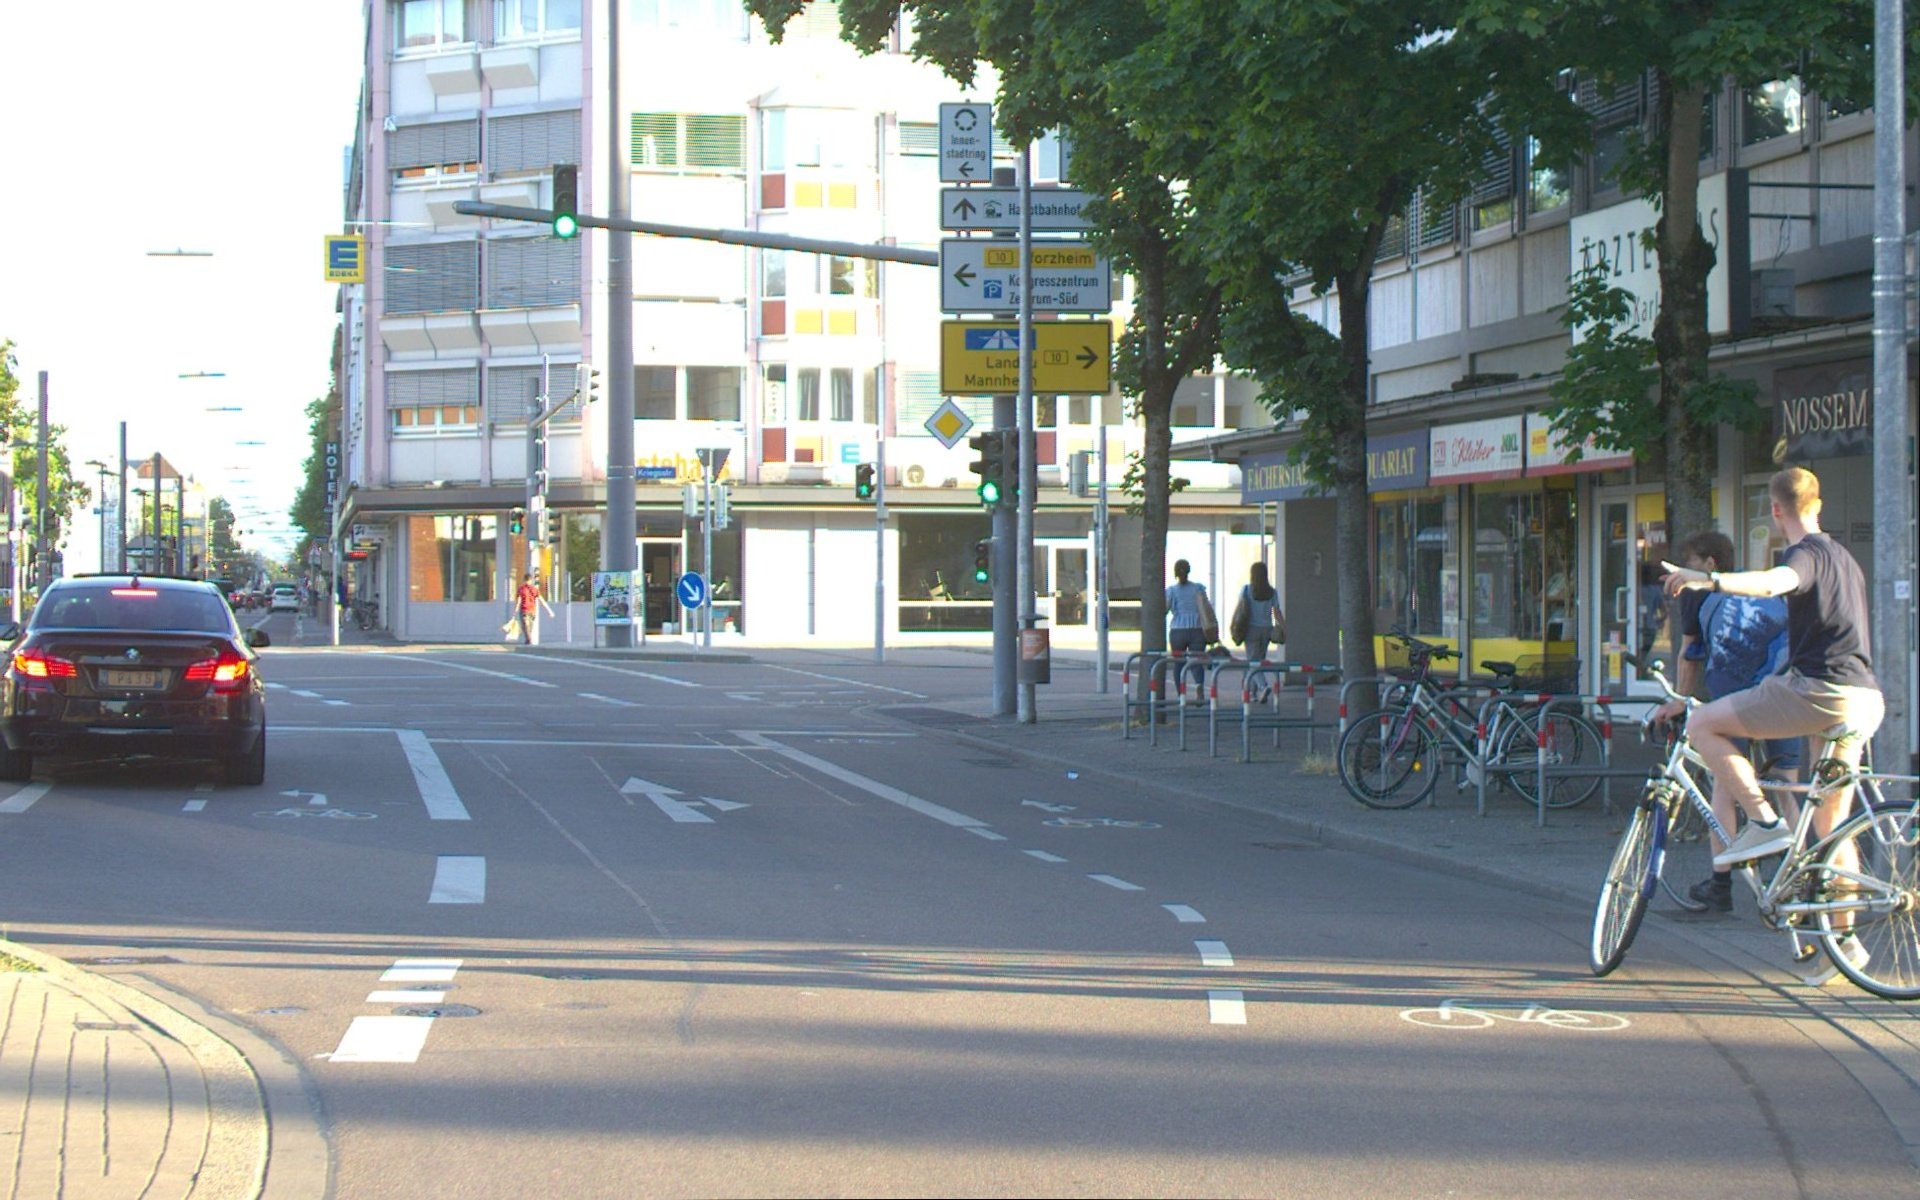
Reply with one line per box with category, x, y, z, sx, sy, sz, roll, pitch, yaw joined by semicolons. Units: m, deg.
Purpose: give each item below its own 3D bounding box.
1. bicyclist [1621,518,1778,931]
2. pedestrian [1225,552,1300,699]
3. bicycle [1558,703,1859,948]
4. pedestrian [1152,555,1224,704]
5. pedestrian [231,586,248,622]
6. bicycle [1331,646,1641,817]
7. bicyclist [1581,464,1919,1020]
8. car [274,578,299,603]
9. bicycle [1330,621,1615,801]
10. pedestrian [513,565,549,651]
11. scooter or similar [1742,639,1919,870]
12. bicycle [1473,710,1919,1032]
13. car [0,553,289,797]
bicyclist;3.334;0.549;15.526;0.464;1.824;0.559;0;0;-19
pedestrian;3.461;0.286;39.322;0.723;1.661;0.671;0;0;-7
bicycle;3.342;0.984;15.507;0.464;0.967;1.801;0;0;-19
pedestrian;2.572;0.327;38.787;0.684;1.661;0.671;0;0;-7
pedestrian;-40.172;0.226;191.675;0.914;2.007;0.887;0;0;-12
bicycle;3.523;0.877;23.155;1.996;1.107;0.668;0;0;2
bicyclist;2.967;0.484;12.511;1.114;1.911;0.838;0;0;43
car;-41.867;-0.604;213.618;1.472;1.509;3.097;0;0;-12
bicycle;3.584;0.771;24.134;1.904;1.231;0.668;0;0;1
pedestrian;-9.332;0.170;74.784;0.684;1.848;0.671;0;0;-14
scooter or similar;4.978;0.839;18.902;1.276;1.231;0.338;0;0;31
bicycle;2.974;0.951;12.507;2.076;1.016;0.838;1;0;42
car;-6.014;0.494;25.147;1.993;1.579;4.001;2;0;-13
